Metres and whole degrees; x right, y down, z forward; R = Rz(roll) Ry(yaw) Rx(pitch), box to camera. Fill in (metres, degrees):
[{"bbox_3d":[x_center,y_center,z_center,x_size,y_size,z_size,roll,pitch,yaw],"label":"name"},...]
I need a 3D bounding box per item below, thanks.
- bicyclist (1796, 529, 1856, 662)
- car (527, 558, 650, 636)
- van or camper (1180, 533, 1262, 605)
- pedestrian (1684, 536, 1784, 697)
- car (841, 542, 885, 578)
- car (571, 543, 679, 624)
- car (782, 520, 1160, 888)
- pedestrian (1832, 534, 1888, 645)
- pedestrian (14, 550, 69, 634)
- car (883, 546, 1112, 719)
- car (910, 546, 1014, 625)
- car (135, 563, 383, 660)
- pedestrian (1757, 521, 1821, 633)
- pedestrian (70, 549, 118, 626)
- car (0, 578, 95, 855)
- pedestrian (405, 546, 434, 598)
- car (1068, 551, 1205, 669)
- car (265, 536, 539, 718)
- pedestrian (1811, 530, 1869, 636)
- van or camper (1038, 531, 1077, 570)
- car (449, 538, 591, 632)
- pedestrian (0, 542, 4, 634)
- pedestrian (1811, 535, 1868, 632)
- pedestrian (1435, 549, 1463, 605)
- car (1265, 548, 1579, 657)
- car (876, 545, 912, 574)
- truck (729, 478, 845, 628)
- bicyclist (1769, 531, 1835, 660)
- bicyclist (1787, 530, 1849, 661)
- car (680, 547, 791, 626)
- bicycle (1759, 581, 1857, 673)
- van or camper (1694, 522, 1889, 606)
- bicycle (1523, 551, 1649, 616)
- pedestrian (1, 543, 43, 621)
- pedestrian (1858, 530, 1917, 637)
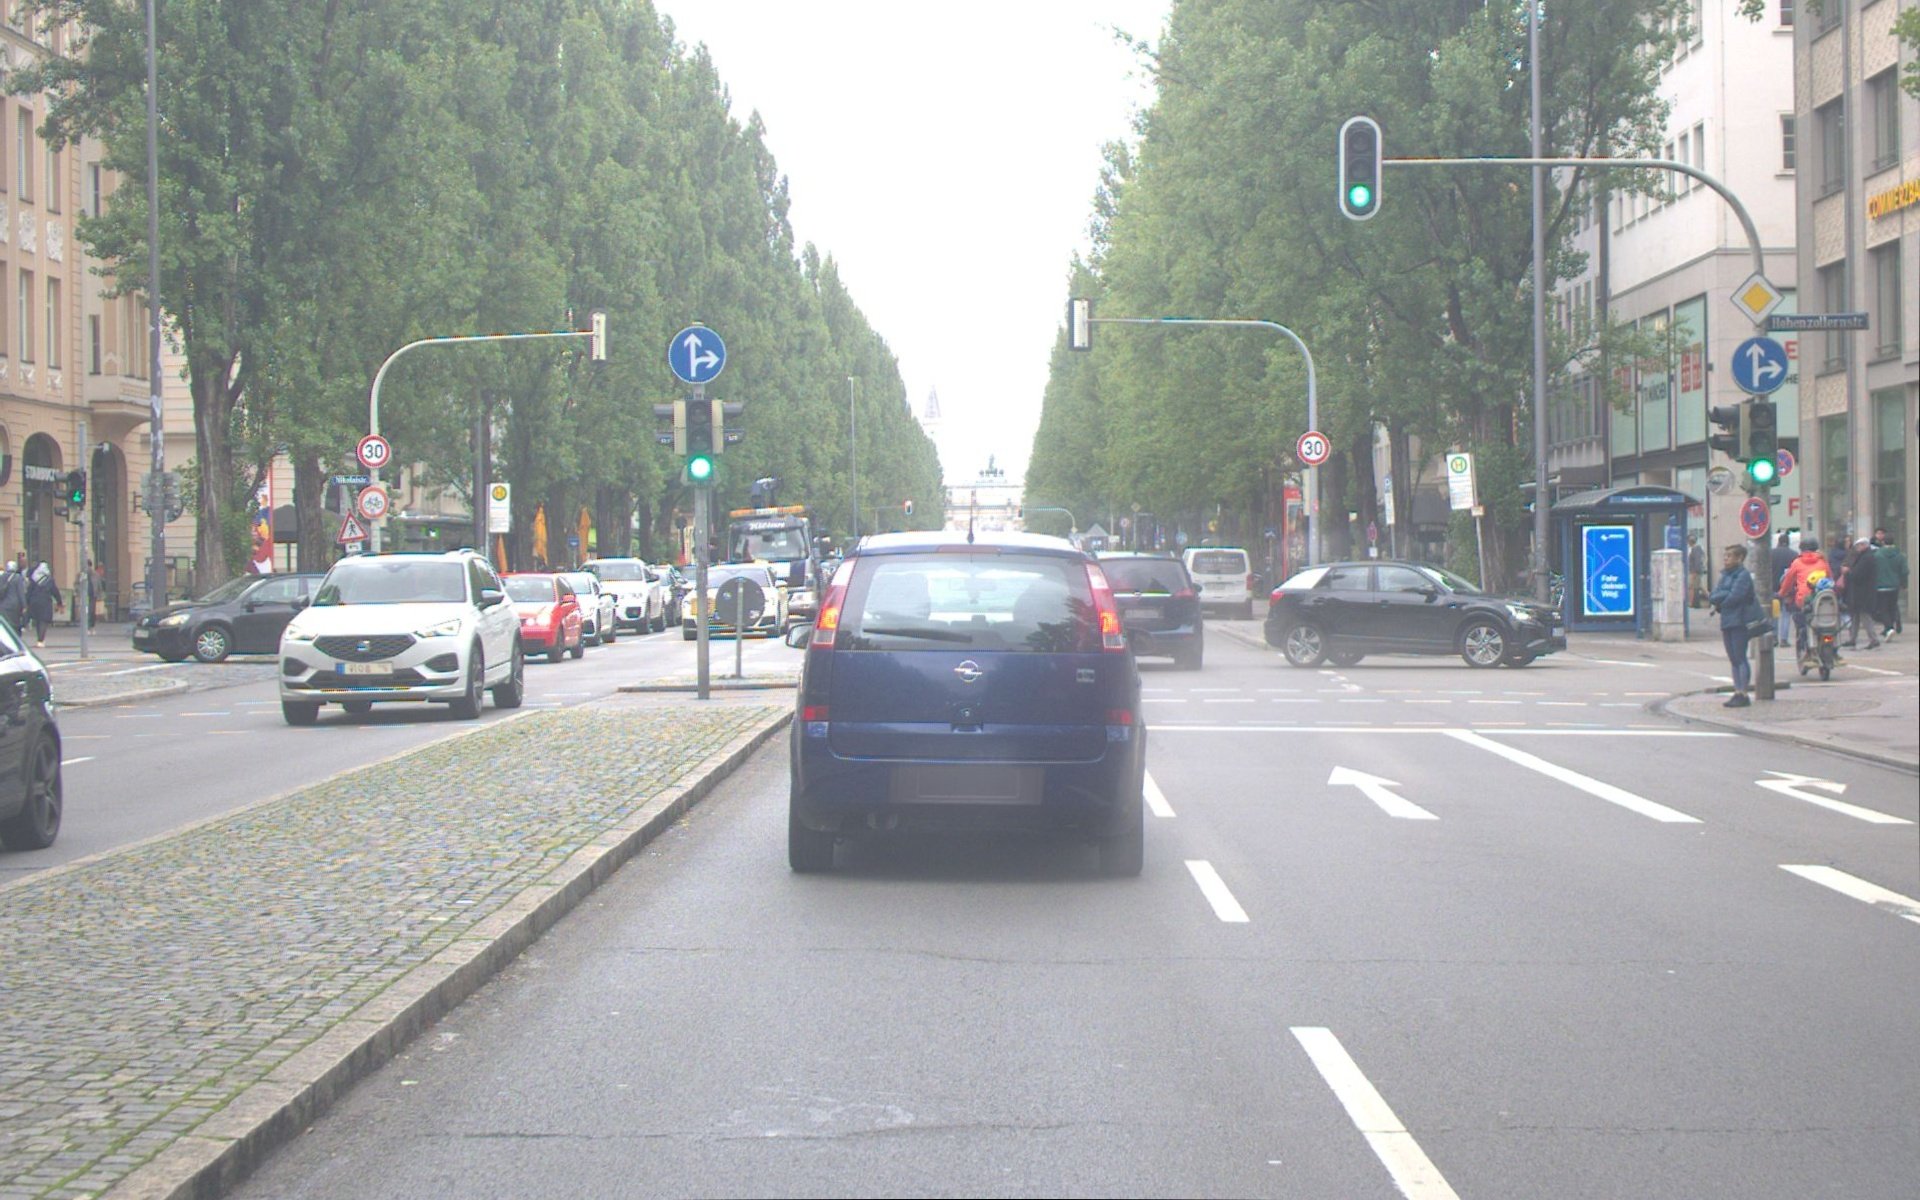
[{"bbox_3d":[10.469,-0.056,41.572,0.621,1.583,0.391,-1,1,0],"label":"bicyclist"},{"bbox_3d":[-7.135,-0.086,66.416,1.823,1.403,4.632,-1,1,0],"label":"car"},{"bbox_3d":[6.980,-0.834,92.366,1.868,1.876,4.903,0,1,0],"label":"van or camper"},{"bbox_3d":[7.814,0.157,34.720,0.765,1.604,0.864,-1,1,-3],"label":"pedestrian"},{"bbox_3d":[-4.645,-1.925,164.848,1.913,1.675,4.586,-1,1,0],"label":"car"},{"bbox_3d":[-7.453,-0.386,76.797,1.837,1.710,4.636,-1,1,1],"label":"car"},{"bbox_3d":[0.037,0.430,17.377,1.681,1.635,4.000,0,1,0],"label":"car"},{"bbox_3d":[14.361,-0.172,54.855,0.708,1.752,0.752,-1,1,2],"label":"pedestrian"},{"bbox_3d":[-17.263,-0.157,64.621,0.750,1.562,0.989,-1,1,0],"label":"pedestrian"},{"bbox_3d":[0.316,0.252,32.121,1.993,1.492,4.000,-1,1,0],"label":"car"},{"bbox_3d":[0.022,-0.312,68.191,1.993,1.492,4.000,-1,1,0],"label":"car"},{"bbox_3d":[-11.213,0.161,54.958,3.690,1.470,1.773,-1,1,-18],"label":"car"},{"bbox_3d":[13.520,-0.386,56.107,0.818,1.811,0.891,0,1,-1],"label":"pedestrian"},{"bbox_3d":[-18.548,-0.273,73.657,0.778,1.613,0.934,-1,1,0],"label":"pedestrian"},{"bbox_3d":[-5.710,0.632,16.740,1.836,1.356,4.176,-3,1,1],"label":"car"},{"bbox_3d":[-17.323,-0.907,110.158,0.734,1.667,0.952,-1,1,1],"label":"pedestrian"},{"bbox_3d":[2.426,0.106,48.073,1.706,1.568,4.000,-1,1,0],"label":"car"},{"bbox_3d":[-5.470,0.215,34.238,1.844,1.630,4.575,-2,1,1],"label":"car"},{"bbox_3d":[14.627,-0.277,57.175,0.750,1.752,0.859,-1,-1,2],"label":"pedestrian"},{"bbox_3d":[6.458,-3.297,228.856,2.477,2.572,5.844,-1,1,1],"label":"van or camper"},{"bbox_3d":[-7.051,-0.256,55.427,1.736,1.432,3.823,-1,1,1],"label":"car"},{"bbox_3d":[-19.060,-0.234,66.555,0.800,1.781,0.912,1,1,1],"label":"pedestrian"},{"bbox_3d":[15.290,-0.292,59.787,0.750,1.671,0.963,-1,1,2],"label":"pedestrian"},{"bbox_3d":[16.160,-0.765,113.594,0.826,1.834,1.099,-1,1,4],"label":"pedestrian"},{"bbox_3d":[6.462,0.018,48.144,3.993,1.456,1.757,0,1,28],"label":"car"},{"bbox_3d":[-3.823,-2.352,200.562,1.935,1.618,4.336,-2,1,0],"label":"car"},{"bbox_3d":[-4.392,-1.228,88.866,2.463,3.657,8.440,-1,1,1],"label":"truck"},{"bbox_3d":[10.464,-0.065,42.726,0.621,1.583,0.753,-1,1,0],"label":"bicyclist"},{"bbox_3d":[10.466,-0.059,41.943,0.621,1.583,0.481,-1,1,0],"label":"bicyclist"},{"bbox_3d":[-4.478,-0.307,69.157,1.843,1.496,4.986,-1,1,0],"label":"car"},{"bbox_3d":[10.469,0.323,42.513,0.626,1.083,2.264,-1,1,0],"label":"bicycle"},{"bbox_3d":[19.159,-0.833,79.358,4.105,1.860,1.898,1,0,5],"label":"van or camper"},{"bbox_3d":[12.200,-0.330,67.049,2.343,1.248,0.633,0,1,1],"label":"bicycle"},{"bbox_3d":[-21.518,-0.413,78.844,0.699,1.781,0.820,-1,1,2],"label":"pedestrian"},{"bbox_3d":[15.422,-0.264,57.166,0.750,1.752,0.859,-1,-1,2],"label":"pedestrian"}]
